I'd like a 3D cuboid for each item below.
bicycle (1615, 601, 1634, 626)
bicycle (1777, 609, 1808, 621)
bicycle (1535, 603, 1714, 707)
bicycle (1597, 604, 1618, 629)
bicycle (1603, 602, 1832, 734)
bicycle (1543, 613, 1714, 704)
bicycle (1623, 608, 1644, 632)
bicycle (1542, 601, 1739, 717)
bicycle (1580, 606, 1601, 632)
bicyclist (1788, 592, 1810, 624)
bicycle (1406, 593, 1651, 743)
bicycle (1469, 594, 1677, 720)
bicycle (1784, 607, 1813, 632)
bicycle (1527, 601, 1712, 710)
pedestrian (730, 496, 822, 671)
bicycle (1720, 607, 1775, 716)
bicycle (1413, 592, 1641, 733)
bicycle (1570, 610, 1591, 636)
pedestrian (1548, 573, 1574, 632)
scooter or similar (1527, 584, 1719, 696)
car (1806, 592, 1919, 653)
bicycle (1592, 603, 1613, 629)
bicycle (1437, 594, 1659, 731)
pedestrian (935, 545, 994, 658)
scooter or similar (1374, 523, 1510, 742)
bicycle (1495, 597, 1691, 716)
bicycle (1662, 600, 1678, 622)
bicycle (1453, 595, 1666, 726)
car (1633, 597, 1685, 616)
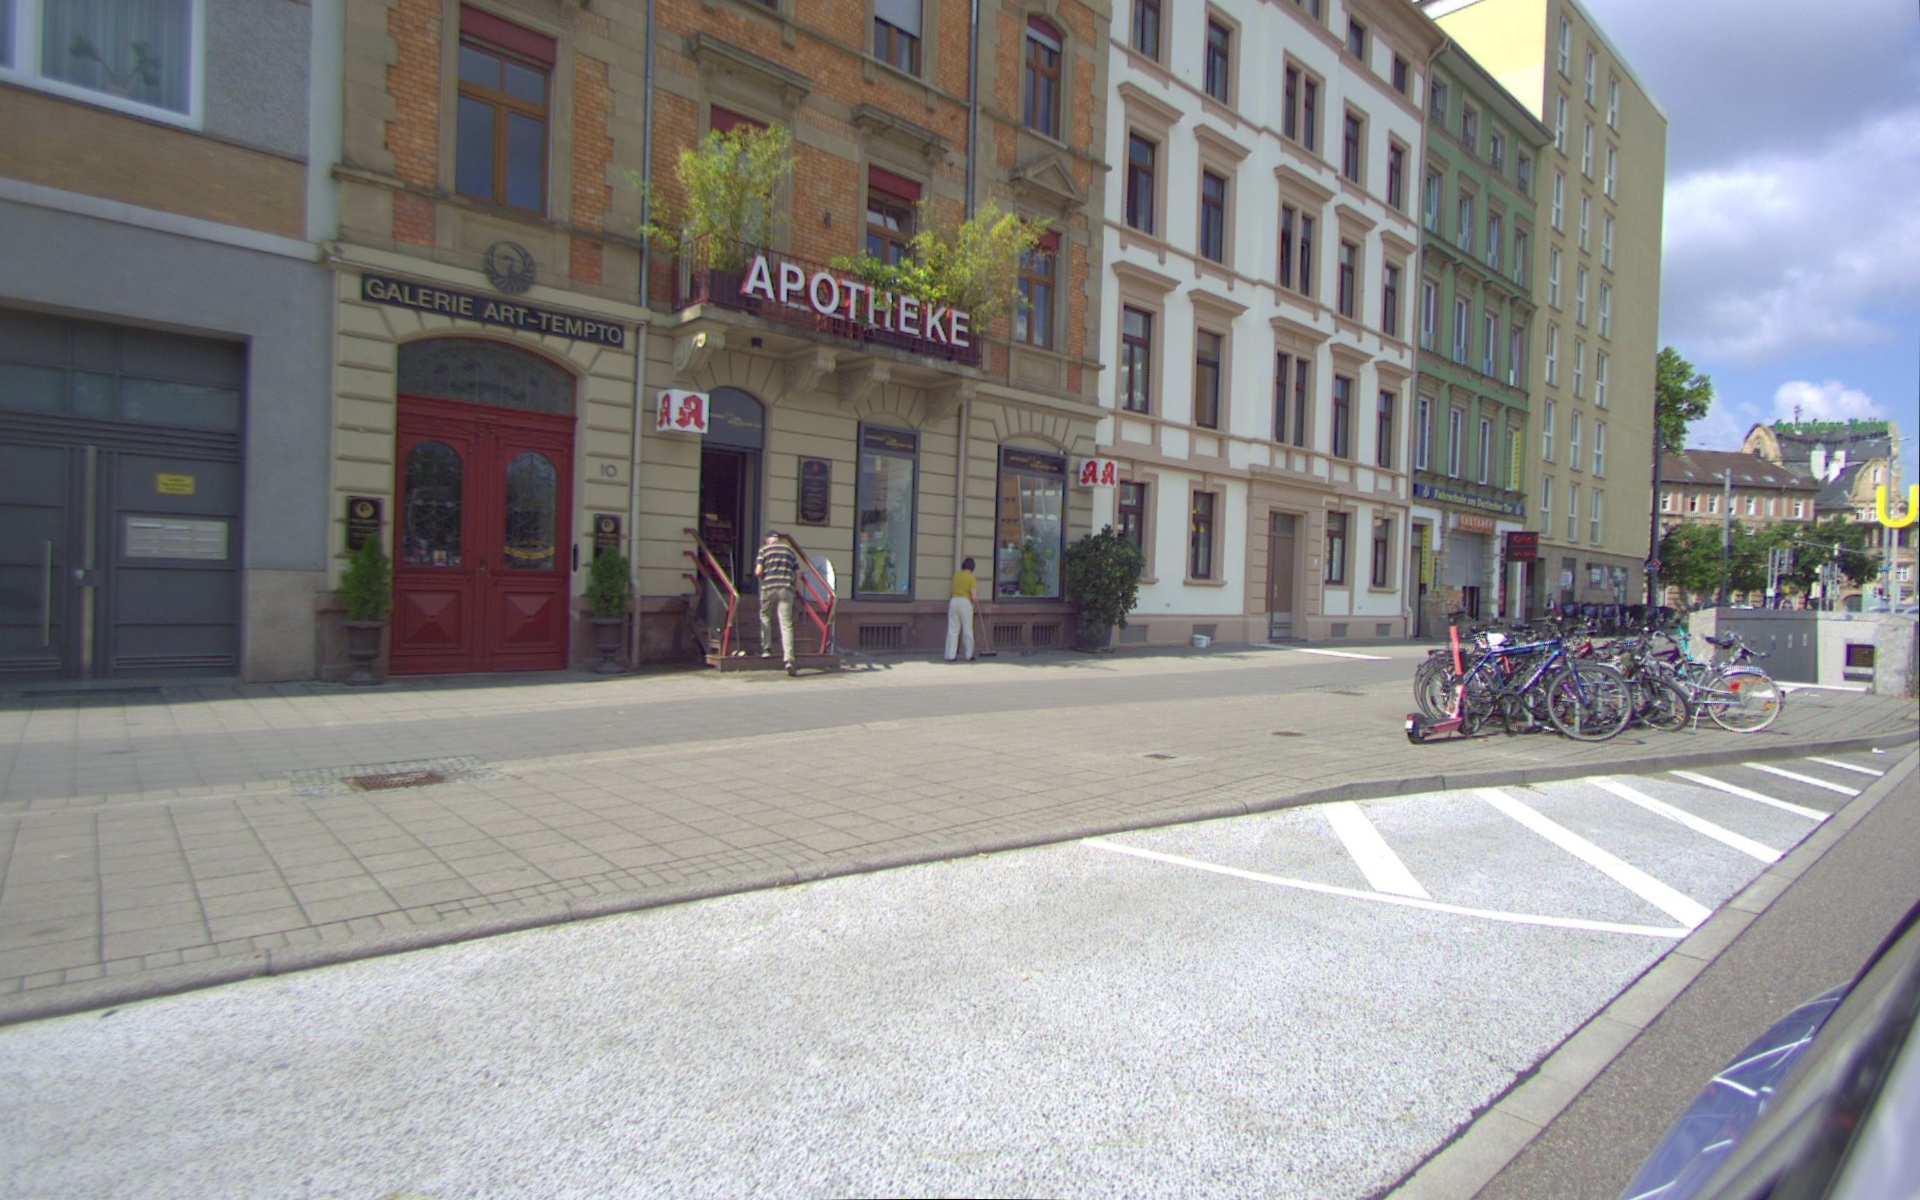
[{"bbox_3d":[25.801,0.516,39.288,1.440,0.934,0.292,3,-1,-44],"label":"bicycle"},{"bbox_3d":[87.519,1.559,106.389,0.745,1.180,2.689,1,1,-8],"label":"bicycle"},{"bbox_3d":[8.875,0.703,13.598,0.433,1.253,1.929,4,-1,-39],"label":"bicycle"},{"bbox_3d":[25.506,0.666,39.850,1.438,0.934,0.293,4,-1,-41],"label":"bicycle"},{"bbox_3d":[8.159,0.691,10.993,1.920,1.253,0.435,3,-1,37],"label":"bicycle"},{"bbox_3d":[9.298,0.790,14.156,0.433,1.117,1.929,4,-1,-39],"label":"bicycle"},{"bbox_3d":[26.911,0.793,40.440,1.439,0.934,0.293,1,1,-41],"label":"bicycle"},{"bbox_3d":[8.285,0.682,12.414,0.433,1.253,1.929,4,-1,-39],"label":"bicycle"},{"bbox_3d":[23.648,0.712,37.966,1.440,0.934,0.292,3,-1,-44],"label":"bicycle"},{"bbox_3d":[39.203,0.381,47.291,0.730,1.455,0.655,1,1,-41],"label":"bicyclist"},{"bbox_3d":[5.411,0.604,9.730,1.975,1.253,0.435,3,-1,38],"label":"bicycle"},{"bbox_3d":[6.860,0.601,11.397,1.921,1.253,0.435,3,-1,39],"label":"bicycle"},{"bbox_3d":[39.204,0.902,47.315,2.291,1.134,0.663,1,1,-42],"label":"bicycle"},{"bbox_3d":[8.459,0.675,13.061,0.433,1.253,1.929,4,-1,-39],"label":"bicycle"},{"bbox_3d":[-2.330,-0.192,12.795,0.772,2.126,0.722,4,-1,-41],"label":"pedestrian"},{"bbox_3d":[9.862,0.759,12.649,0.439,1.253,1.902,2,-1,40],"label":"bicycle"},{"bbox_3d":[5.687,0.584,10.243,1.923,1.253,0.434,3,-1,41],"label":"bicycle"},{"bbox_3d":[23.428,0.869,38.202,1.440,0.934,0.292,2,0,-44],"label":"bicycle"},{"bbox_3d":[21.197,0.092,35.686,0.452,2.039,0.602,4,-1,-41],"label":"pedestrian"},{"bbox_3d":[10.129,0.566,15.565,0.684,1.565,2.332,4,-1,-35],"label":"scooter or similar"},{"bbox_3d":[28.143,0.685,29.788,4.517,1.667,2.058,2,1,7],"label":"car"},{"bbox_3d":[23.806,0.608,37.490,1.440,0.934,0.292,2,0,-44],"label":"bicycle"},{"bbox_3d":[6.096,0.606,10.586,1.924,1.253,0.434,3,-1,44],"label":"bicycle"},{"bbox_3d":[0.073,0.023,15.878,0.601,1.719,0.579,4,-1,-41],"label":"pedestrian"},{"bbox_3d":[4.293,0.272,8.973,1.509,1.809,0.398,1,1,-38],"label":"scooter or similar"},{"bbox_3d":[7.524,0.643,12.089,1.919,1.253,0.435,3,-1,36],"label":"bicycle"},{"bbox_3d":[30.688,0.474,43.717,1.440,0.894,0.292,-1,2,-44],"label":"bicycle"},{"bbox_3d":[6.486,0.622,11.021,1.921,1.253,0.435,3,-1,39],"label":"bicycle"},{"bbox_3d":[59.208,0.570,85.788,1.657,1.488,3.659,3,0,-5],"label":"car"}]
